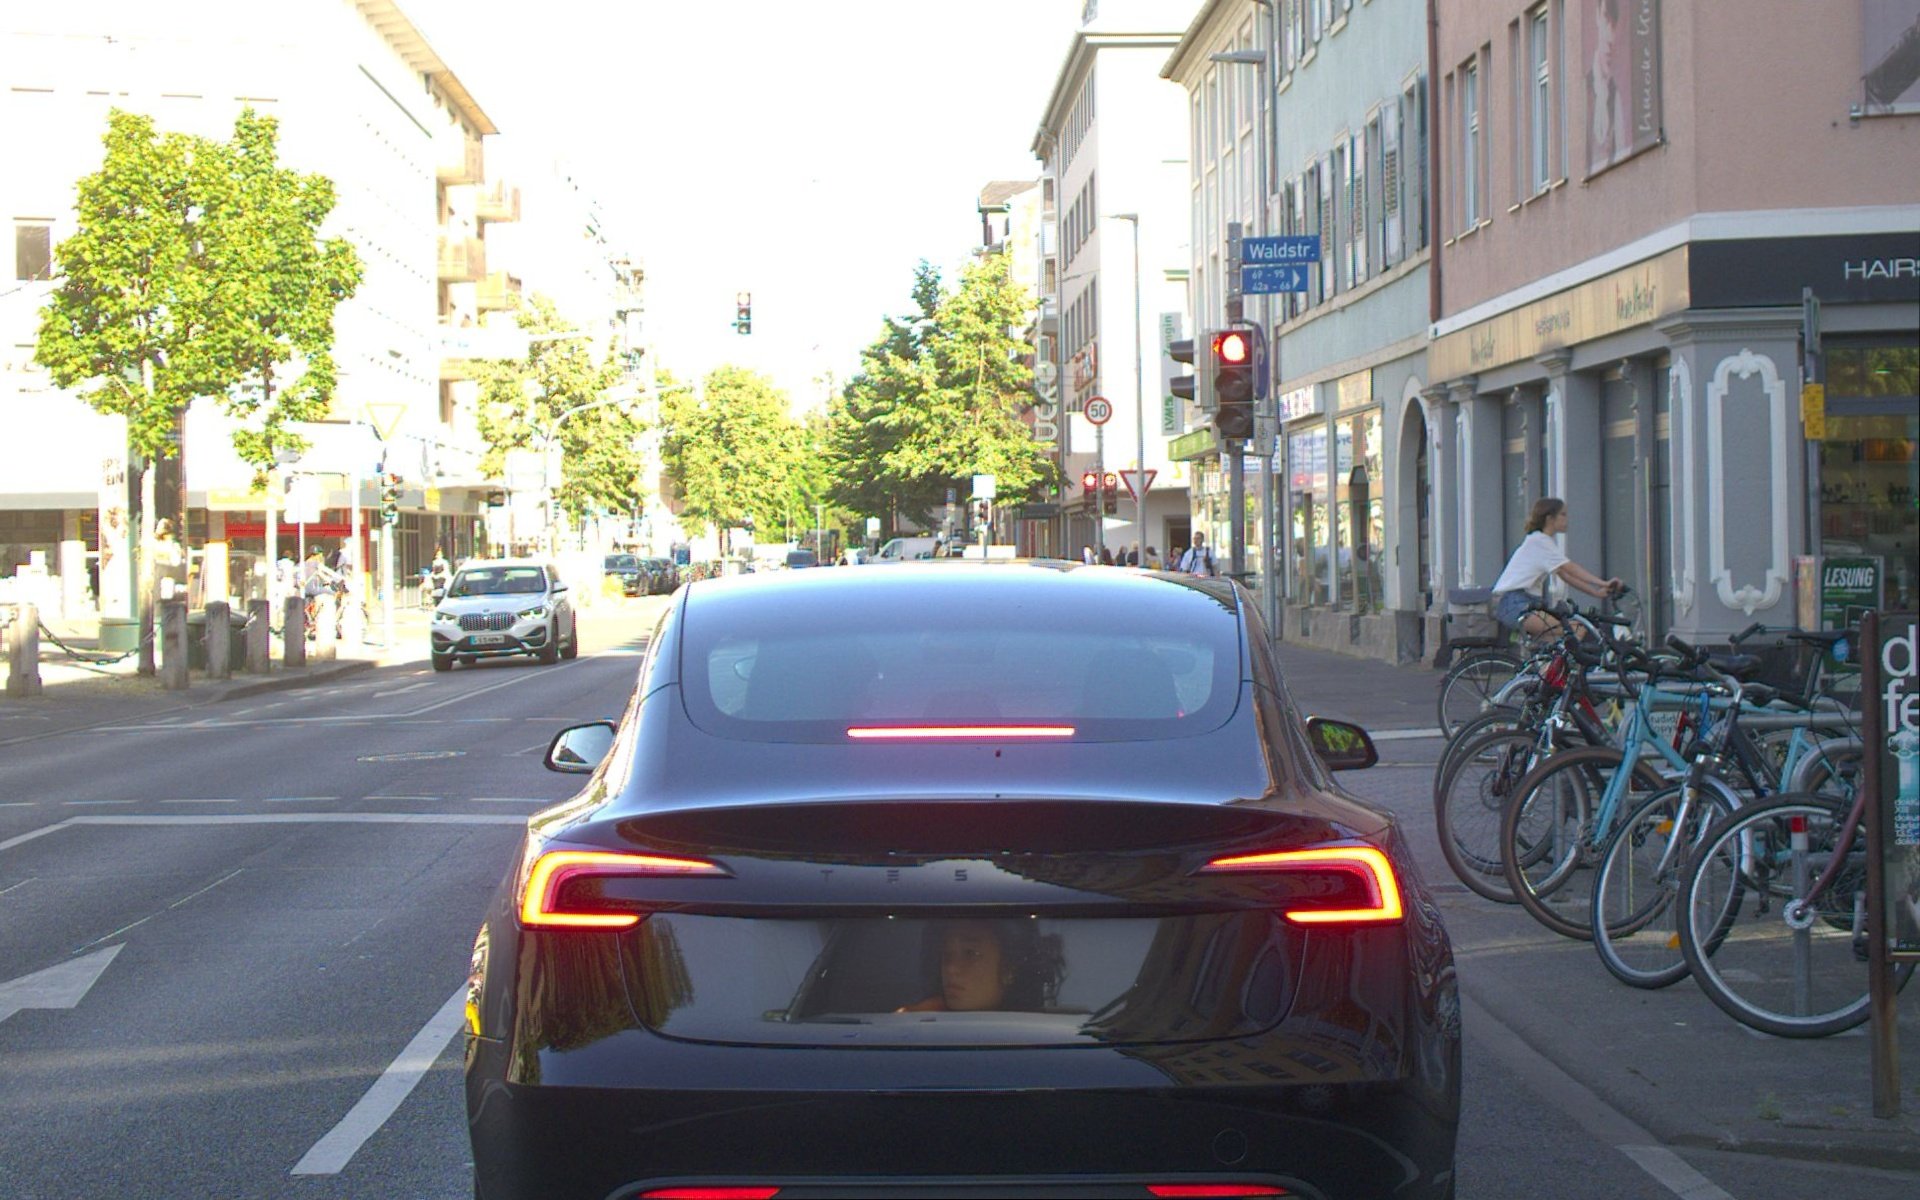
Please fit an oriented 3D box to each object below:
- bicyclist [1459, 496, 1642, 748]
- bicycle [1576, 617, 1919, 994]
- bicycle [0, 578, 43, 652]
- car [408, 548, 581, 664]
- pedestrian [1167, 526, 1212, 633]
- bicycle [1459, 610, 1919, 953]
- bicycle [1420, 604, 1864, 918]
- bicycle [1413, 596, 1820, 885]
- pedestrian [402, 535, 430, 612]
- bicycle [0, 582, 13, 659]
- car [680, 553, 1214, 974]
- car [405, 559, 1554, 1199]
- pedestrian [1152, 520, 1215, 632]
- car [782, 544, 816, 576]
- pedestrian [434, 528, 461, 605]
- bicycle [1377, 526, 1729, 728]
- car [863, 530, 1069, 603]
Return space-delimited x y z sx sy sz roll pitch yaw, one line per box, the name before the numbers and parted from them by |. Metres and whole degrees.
bicyclist | 3.793 0.133 22.054 1.098 1.583 0.628 0 1 16
bicycle | 2.886 0.651 11.240 1.627 1.156 0.433 -2 1 -1
bicycle | -15.058 0.227 52.171 2.082 1.100 0.806 0 1 -1
car | -6.914 0.062 51.455 1.993 1.535 4.000 -4 1 -1
pedestrian | 3.827 -0.352 57.352 0.704 1.777 0.533 0 1 -1
bicycle | 2.678 0.647 12.476 1.627 1.156 0.433 -2 1 -1
bicycle | 2.681 0.625 13.572 1.627 1.156 0.433 -2 1 -1
bicycle | 2.805 0.595 14.759 1.628 1.156 0.433 -2 1 1
pedestrian | -14.239 -0.706 90.004 0.626 2.007 0.707 0 1 -1
bicycle | -14.919 0.299 49.978 2.082 1.100 0.806 0 1 -1
car | -0.039 0.539 13.806 1.850 1.450 3.786 0 1 0
car | 0.037 0.646 7.438 1.850 1.450 3.786 0 1 0
pedestrian | 3.727 -0.404 57.309 0.999 1.844 0.615 0 1 -1
car | -8.886 -2.213 189.963 1.829 1.718 4.000 0 1 -2
pedestrian | -13.423 -0.885 90.061 0.626 2.007 0.575 0 1 -1
bicycle | 3.806 0.172 22.056 2.127 1.196 0.628 -2 0 16
car | 0.129 -0.823 83.223 4.648 1.721 2.053 1 1 35
